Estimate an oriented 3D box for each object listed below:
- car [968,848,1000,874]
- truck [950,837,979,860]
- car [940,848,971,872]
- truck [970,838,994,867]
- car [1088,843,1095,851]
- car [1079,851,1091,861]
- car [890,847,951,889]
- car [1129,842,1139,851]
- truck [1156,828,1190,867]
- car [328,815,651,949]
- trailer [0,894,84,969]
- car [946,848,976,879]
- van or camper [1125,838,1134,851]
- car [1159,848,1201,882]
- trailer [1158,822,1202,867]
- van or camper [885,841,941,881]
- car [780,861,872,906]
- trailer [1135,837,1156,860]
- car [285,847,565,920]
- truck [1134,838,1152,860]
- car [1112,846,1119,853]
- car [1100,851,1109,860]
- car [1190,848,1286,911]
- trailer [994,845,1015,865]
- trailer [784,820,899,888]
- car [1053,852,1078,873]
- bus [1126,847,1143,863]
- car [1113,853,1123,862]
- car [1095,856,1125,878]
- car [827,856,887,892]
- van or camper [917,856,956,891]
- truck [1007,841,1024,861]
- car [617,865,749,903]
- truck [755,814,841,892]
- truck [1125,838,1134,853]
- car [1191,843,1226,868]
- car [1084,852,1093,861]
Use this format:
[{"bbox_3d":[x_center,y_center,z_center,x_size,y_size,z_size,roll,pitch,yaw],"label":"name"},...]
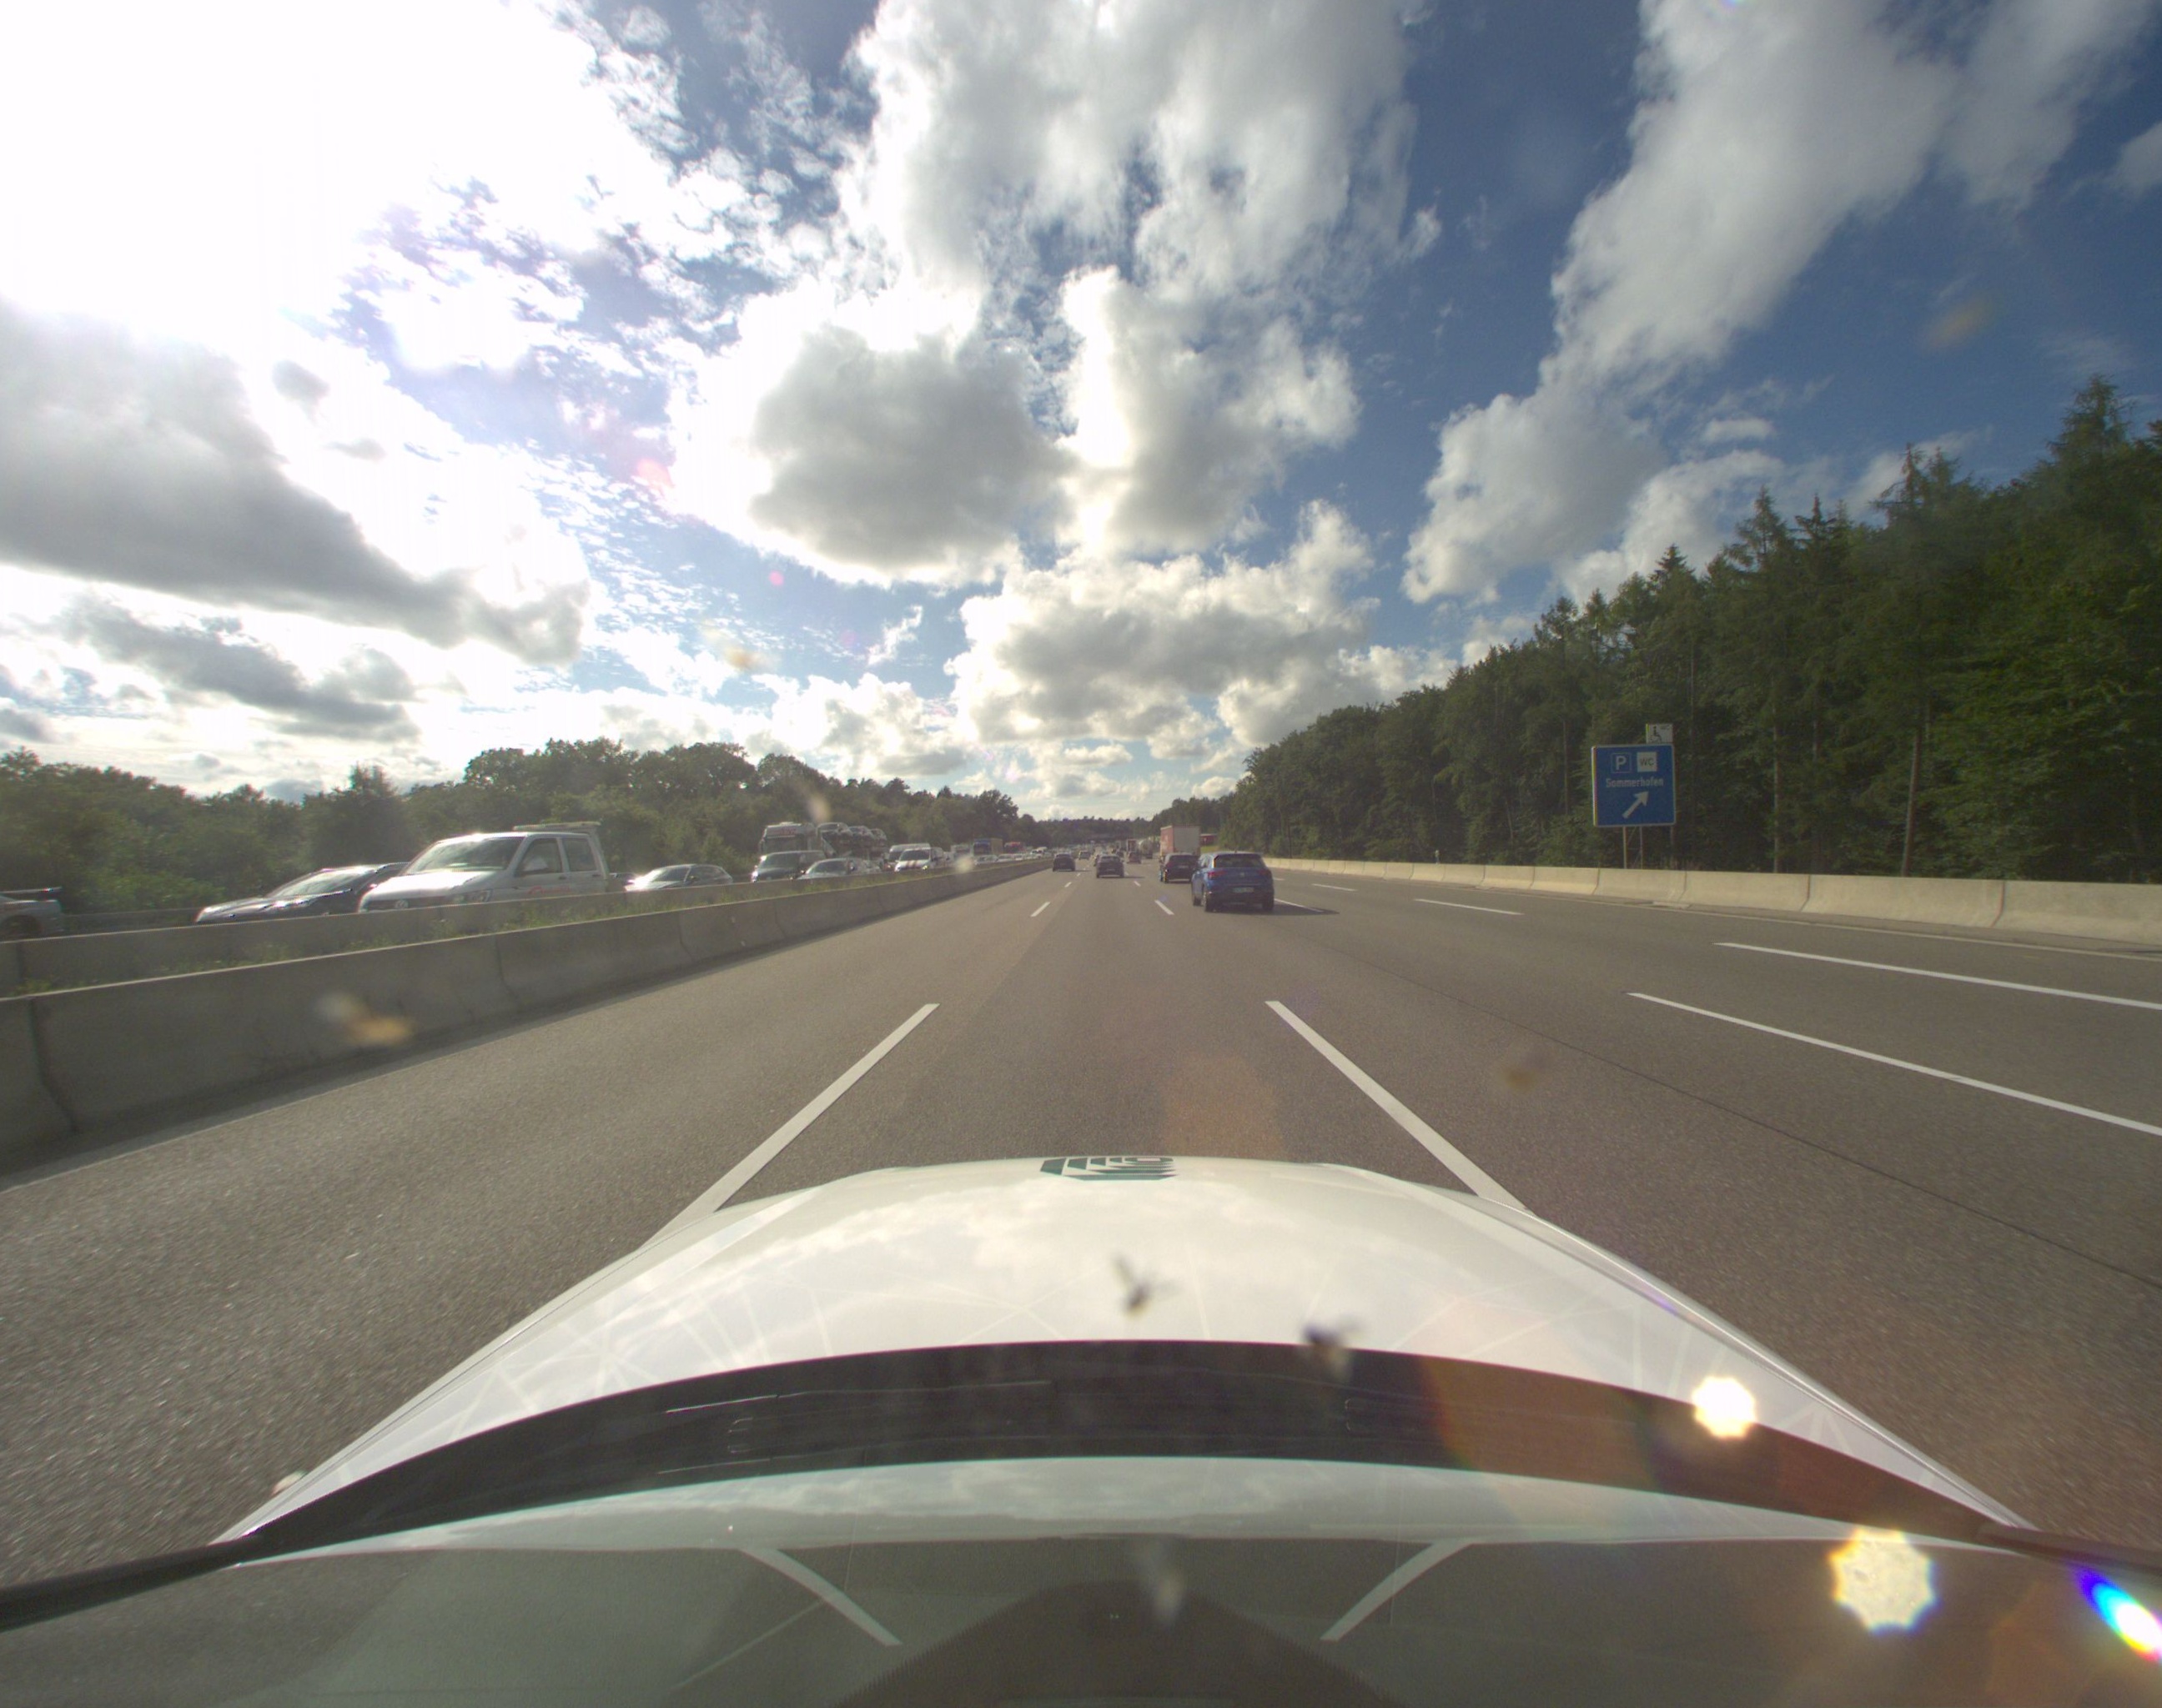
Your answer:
[{"bbox_3d":[-8.076,0.615,68.194,1.986,2.014,4.411,-2,-1,2],"label":"car"},{"bbox_3d":[-14.872,-0.723,104.469,2.320,2.801,7.951,0,0,1],"label":"truck"},{"bbox_3d":[-11.190,0.540,72.783,1.987,2.014,4.657,-1,-1,0],"label":"car"},{"bbox_3d":[-14.426,-0.156,118.825,2.726,4.148,5.616,-1,-1,0],"label":"truck"},{"bbox_3d":[2.943,-1.921,222.142,1.986,2.013,4.001,0,0,1],"label":"car"},{"bbox_3d":[0.791,0.376,150.161,2.146,1.776,4.002,0,0,2],"label":"car"},{"bbox_3d":[-8.386,0.734,43.100,1.986,2.100,5.280,-1,-1,2],"label":"car"},{"bbox_3d":[11.990,-1.625,184.790,1.986,2.014,4.001,-1,-1,1],"label":"car"},{"bbox_3d":[9.806,-0.607,87.481,3.069,4.063,6.071,-1,-1,1],"label":"truck"},{"bbox_3d":[-9.132,0.380,13.150,2.079,1.801,4.180,0,0,1],"label":"car"},{"bbox_3d":[-24.521,1.712,17.044,1.818,1.579,4.352,-1,-1,3],"label":"trailer"},{"bbox_3d":[-11.646,0.875,79.596,1.986,2.963,5.404,0,0,1],"label":"car"},{"bbox_3d":[12.859,-2.546,218.168,2.342,3.144,5.714,-1,-1,3],"label":"van or camper"},{"bbox_3d":[5.019,0.562,41.656,1.792,1.644,4.002,0,0,2],"label":"car"},{"bbox_3d":[9.623,-0.756,80.658,3.027,4.035,13.893,-1,-1,1],"label":"trailer"},{"bbox_3d":[-11.919,0.523,58.162,2.382,2.711,6.634,-1,-1,2],"label":"van or camper"},{"bbox_3d":[-8.611,0.950,27.831,1.689,1.372,4.002,-2,-1,2],"label":"car"},{"bbox_3d":[11.795,-0.867,150.343,3.025,4.016,12.247,-1,0,1],"label":"trailer"},{"bbox_3d":[-12.705,0.523,16.257,1.825,1.230,4.567,-1,0,1],"label":"car"},{"bbox_3d":[11.968,-0.886,158.077,3.034,4.160,7.129,-1,0,1],"label":"truck"},{"bbox_3d":[10.488,-1.442,249.102,1.986,2.013,4.001,0,0,1],"label":"car"},{"bbox_3d":[5.328,0.430,187.524,1.986,2.014,4.001,-2,-1,1],"label":"car"},{"bbox_3d":[4.167,0.636,22.334,1.916,1.541,4.648,0,0,2],"label":"car"},{"bbox_3d":[-16.822,0.115,179.630,2.798,4.119,14.048,0,1,2],"label":"trailer"},{"bbox_3d":[-15.979,0.123,56.196,2.820,3.975,16.008,0,-1,1],"label":"trailer"},{"bbox_3d":[-1.318,0.732,70.906,1.986,1.776,4.002,0,0,2],"label":"car"},{"bbox_3d":[6.914,0.199,105.381,1.986,2.014,4.001,-1,-1,2],"label":"bus"},{"bbox_3d":[7.837,0.712,172.226,1.986,2.014,4.001,0,0,1],"label":"car"},{"bbox_3d":[1.802,0.789,51.743,1.729,1.365,3.998,0,0,-1],"label":"car"},{"bbox_3d":[-12.522,1.083,45.807,1.904,1.876,4.698,-1,0,1],"label":"car"},{"bbox_3d":[-11.922,1.604,67.492,2.037,2.711,5.753,-1,-1,2],"label":"van or camper"},{"bbox_3d":[-13.229,-0.555,164.815,2.766,3.938,6.853,-1,0,0],"label":"truck"},{"bbox_3d":[-12.428,0.905,25.852,1.634,1.077,4.886,-1,-1,2],"label":"car"},{"bbox_3d":[-16.194,-0.063,46.992,2.843,4.234,5.714,0,0,1],"label":"truck"},{"bbox_3d":[12.504,-2.260,210.939,2.348,3.572,11.273,-1,-1,3],"label":"truck"},{"bbox_3d":[8.362,0.104,53.720,1.709,1.511,4.303,-2,0,2],"label":"car"},{"bbox_3d":[1.779,0.505,184.386,1.986,2.013,4.001,0,0,1],"label":"car"}]
